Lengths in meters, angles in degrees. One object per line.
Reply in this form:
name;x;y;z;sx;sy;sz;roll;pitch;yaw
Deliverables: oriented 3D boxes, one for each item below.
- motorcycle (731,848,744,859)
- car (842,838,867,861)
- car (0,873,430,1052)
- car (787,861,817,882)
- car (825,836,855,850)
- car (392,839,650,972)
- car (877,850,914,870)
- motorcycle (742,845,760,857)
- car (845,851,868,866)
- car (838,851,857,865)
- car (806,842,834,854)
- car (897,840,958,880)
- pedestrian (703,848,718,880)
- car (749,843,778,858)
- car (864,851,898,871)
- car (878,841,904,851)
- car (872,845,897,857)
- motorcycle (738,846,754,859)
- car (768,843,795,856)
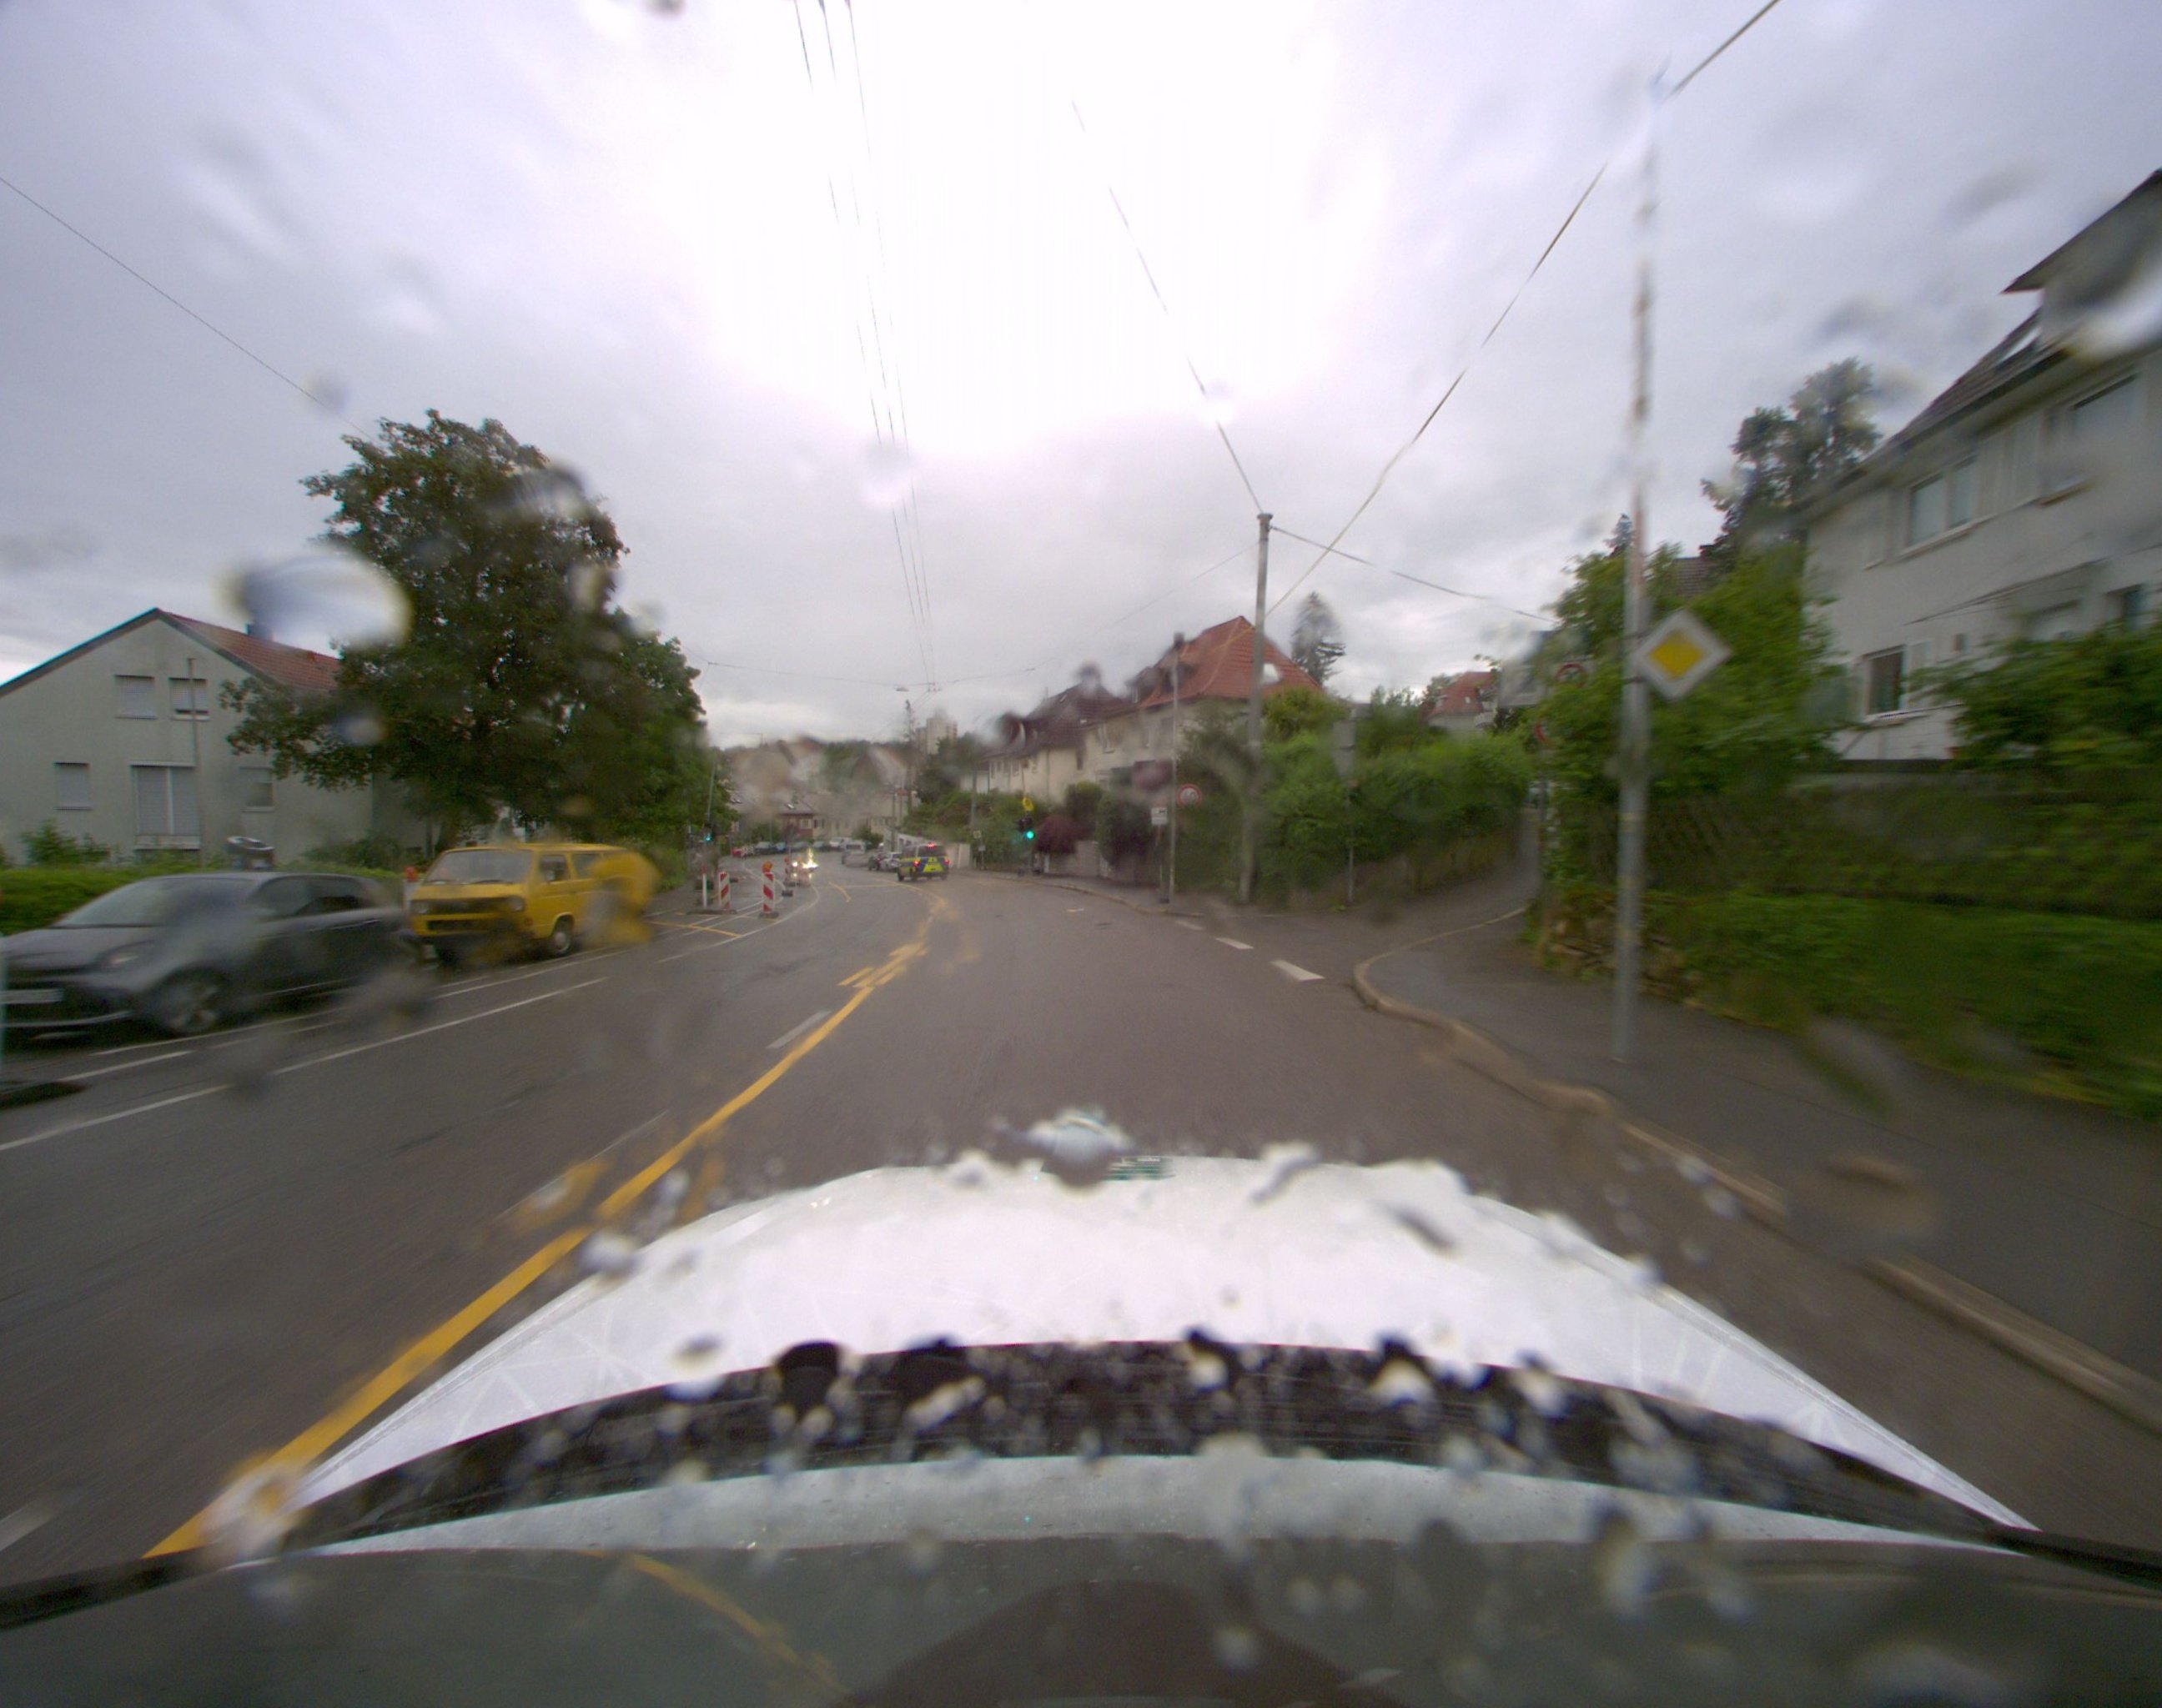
motorcycle;-38.793;-0.046;91.870;0.507;1.139;1.924;-1;2;4
car;-26.445;-0.555;95.122;2.097;2.542;5.604;0;1;-8
car;-9.032;0.972;8.678;1.571;1.454;3.459;-1;-1;-5
car;-21.567;1.292;62.864;1.707;1.461;4.646;-2;1;-24
car;-36.200;-1.659;122.343;1.834;2.078;5.042;3;2;15
car;-9.650;0.778;14.577;1.801;1.928;4.567;-2;0;-7
car;-13.888;0.442;60.869;1.790;1.420;4.393;-2;1;-25
motorcycle;-38.950;-0.353;96.135;1.914;1.271;0.569;2;2;-35
car;-21.581;0.436;78.218;1.712;1.414;4.012;-1;0;-22
car;-25.618;0.430;89.361;1.755;1.495;4.166;0;1;-12
car;-37.326;-0.882;116.609;1.797;1.476;4.535;3;2;9
car;-8.313;0.286;43.818;2.319;1.939;4.292;-3;2;-23
pedestrian;-21.405;0.544;47.047;0.711;1.816;1.138;0;1;-26
car;-39.057;-0.416;100.383;1.916;1.576;4.385;3;2;-2
car;-16.058;0.547;65.325;1.724;1.513;3.963;-1;1;-29
car;-31.670;-1.338;135.730;1.913;1.630;4.701;3;2;20
car;-26.509;-0.423;110.075;1.668;1.483;4.213;3;1;10
motorcycle;-38.932;-0.187;94.515;1.785;1.303;0.617;4;2;24
car;-38.821;-0.608;105.653;1.692;1.404;4.477;3;2;3
